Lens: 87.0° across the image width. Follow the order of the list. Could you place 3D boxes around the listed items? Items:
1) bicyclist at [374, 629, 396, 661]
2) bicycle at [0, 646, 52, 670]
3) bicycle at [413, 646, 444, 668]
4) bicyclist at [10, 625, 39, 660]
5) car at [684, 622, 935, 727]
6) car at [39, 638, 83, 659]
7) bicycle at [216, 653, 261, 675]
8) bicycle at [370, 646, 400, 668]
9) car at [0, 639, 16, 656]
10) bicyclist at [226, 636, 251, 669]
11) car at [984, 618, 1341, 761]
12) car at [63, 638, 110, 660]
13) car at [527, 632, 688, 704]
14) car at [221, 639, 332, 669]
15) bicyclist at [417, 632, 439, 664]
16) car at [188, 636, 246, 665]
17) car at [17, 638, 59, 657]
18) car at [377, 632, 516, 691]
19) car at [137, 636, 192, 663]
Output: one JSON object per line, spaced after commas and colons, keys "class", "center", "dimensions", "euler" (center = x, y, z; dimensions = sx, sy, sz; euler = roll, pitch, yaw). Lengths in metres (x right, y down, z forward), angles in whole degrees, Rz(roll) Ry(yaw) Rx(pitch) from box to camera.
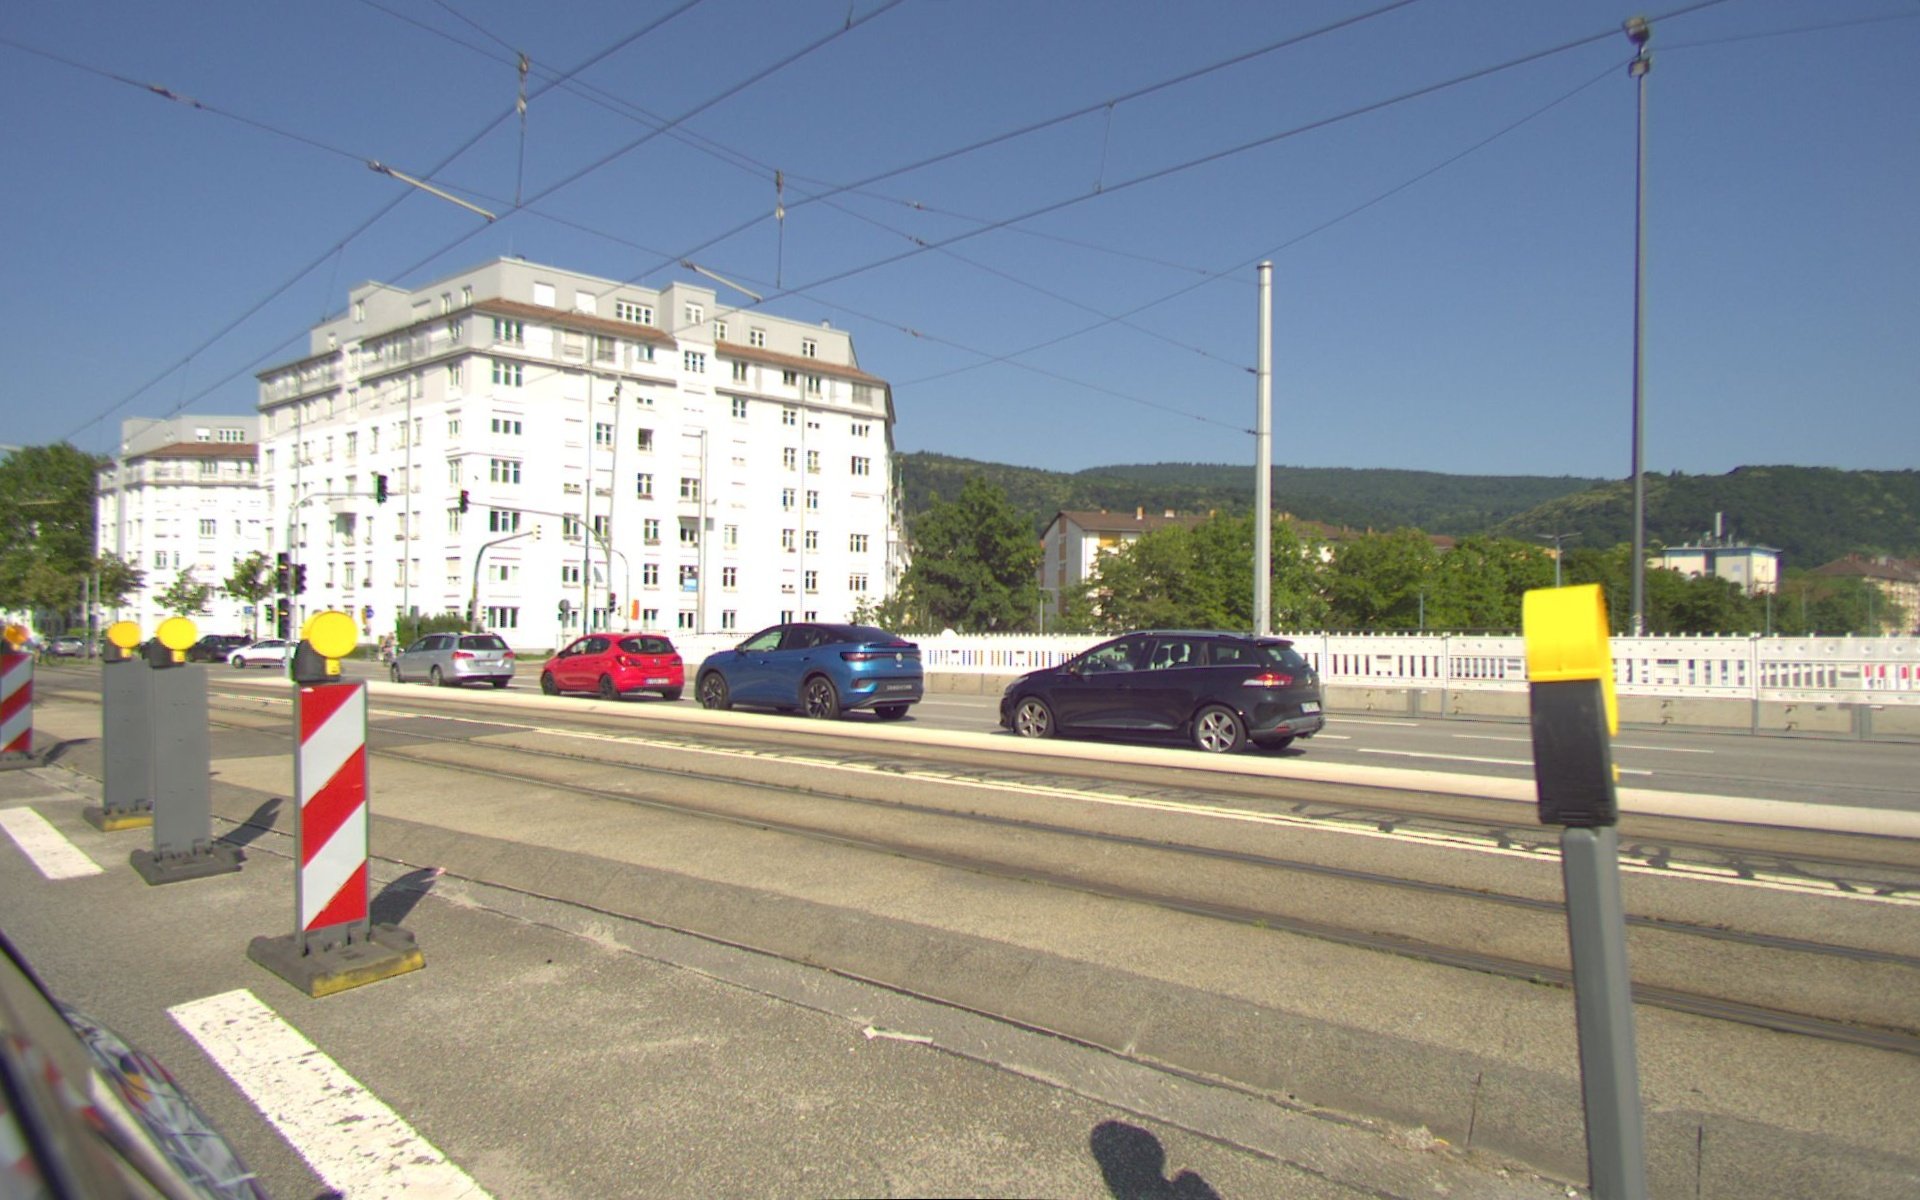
{"class": "bicyclist", "center": [-29.587, 2.323, 52.091], "dimensions": [0.915, 1.602, 0.617], "euler": [-1, -1, 32]}
{"class": "bicycle", "center": [-42.650, 2.643, 46.098], "dimensions": [0.707, 0.998, 1.801], "euler": [-1, -1, 30]}
{"class": "bicycle", "center": [-27.036, 2.889, 51.458], "dimensions": [1.780, 1.108, 0.621], "euler": [-1, -1, 32]}
{"class": "bicyclist", "center": [-42.604, 1.919, 46.071], "dimensions": [0.708, 1.561, 0.776], "euler": [2, 1, 30]}
{"class": "car", "center": [-2.653, 1.189, 17.201], "dimensions": [4.553, 1.562, 1.652], "euler": [-2, -3, 41]}
{"class": "car", "center": [-68.106, 3.665, 76.633], "dimensions": [3.732, 1.496, 1.719], "euler": [-2, -2, 36]}
{"class": "bicycle", "center": [-37.942, 3.351, 53.234], "dimensions": [1.880, 1.028, 0.823], "euler": [-2, -2, -35]}
{"class": "bicycle", "center": [-29.585, 2.938, 52.082], "dimensions": [1.780, 1.108, 0.612], "euler": [-1, -1, 33]}
{"class": "car", "center": [-84.408, 4.146, 88.730], "dimensions": [3.732, 1.496, 1.719], "euler": [-2, -2, 36]}
{"class": "bicyclist", "center": [-37.970, 2.762, 53.253], "dimensions": [0.993, 1.666, 0.811], "euler": [-2, -2, -35]}
{"class": "car", "center": [2.395, 1.025, 12.644], "dimensions": [4.173, 1.512, 1.490], "euler": [-2, -4, 39]}
{"class": "car", "center": [-61.716, 3.466, 71.496], "dimensions": [3.732, 1.496, 1.719], "euler": [-2, -2, 36]}
{"class": "car", "center": [-7.747, 1.433, 22.101], "dimensions": [3.977, 1.448, 1.518], "euler": [-2, -3, 41]}
{"class": "car", "center": [-32.914, 2.588, 48.783], "dimensions": [4.434, 1.423, 1.698], "euler": [0, -3, 9]}
{"class": "bicyclist", "center": [-27.098, 2.444, 51.512], "dimensions": [0.915, 1.591, 0.617], "euler": [-1, -1, 32]}
{"class": "car", "center": [-43.962, 2.963, 59.892], "dimensions": [3.732, 1.650, 1.719], "euler": [-2, -2, 36]}
{"class": "car", "center": [-73.736, 3.793, 80.921], "dimensions": [3.732, 1.496, 1.719], "euler": [-2, -2, 36]}
{"class": "car", "center": [-13.674, 1.601, 26.831], "dimensions": [4.640, 1.448, 1.620], "euler": [-2, -4, 41]}
{"class": "car", "center": [-50.896, 3.168, 64.734], "dimensions": [3.730, 1.650, 1.720], "euler": [-2, -2, 34]}
